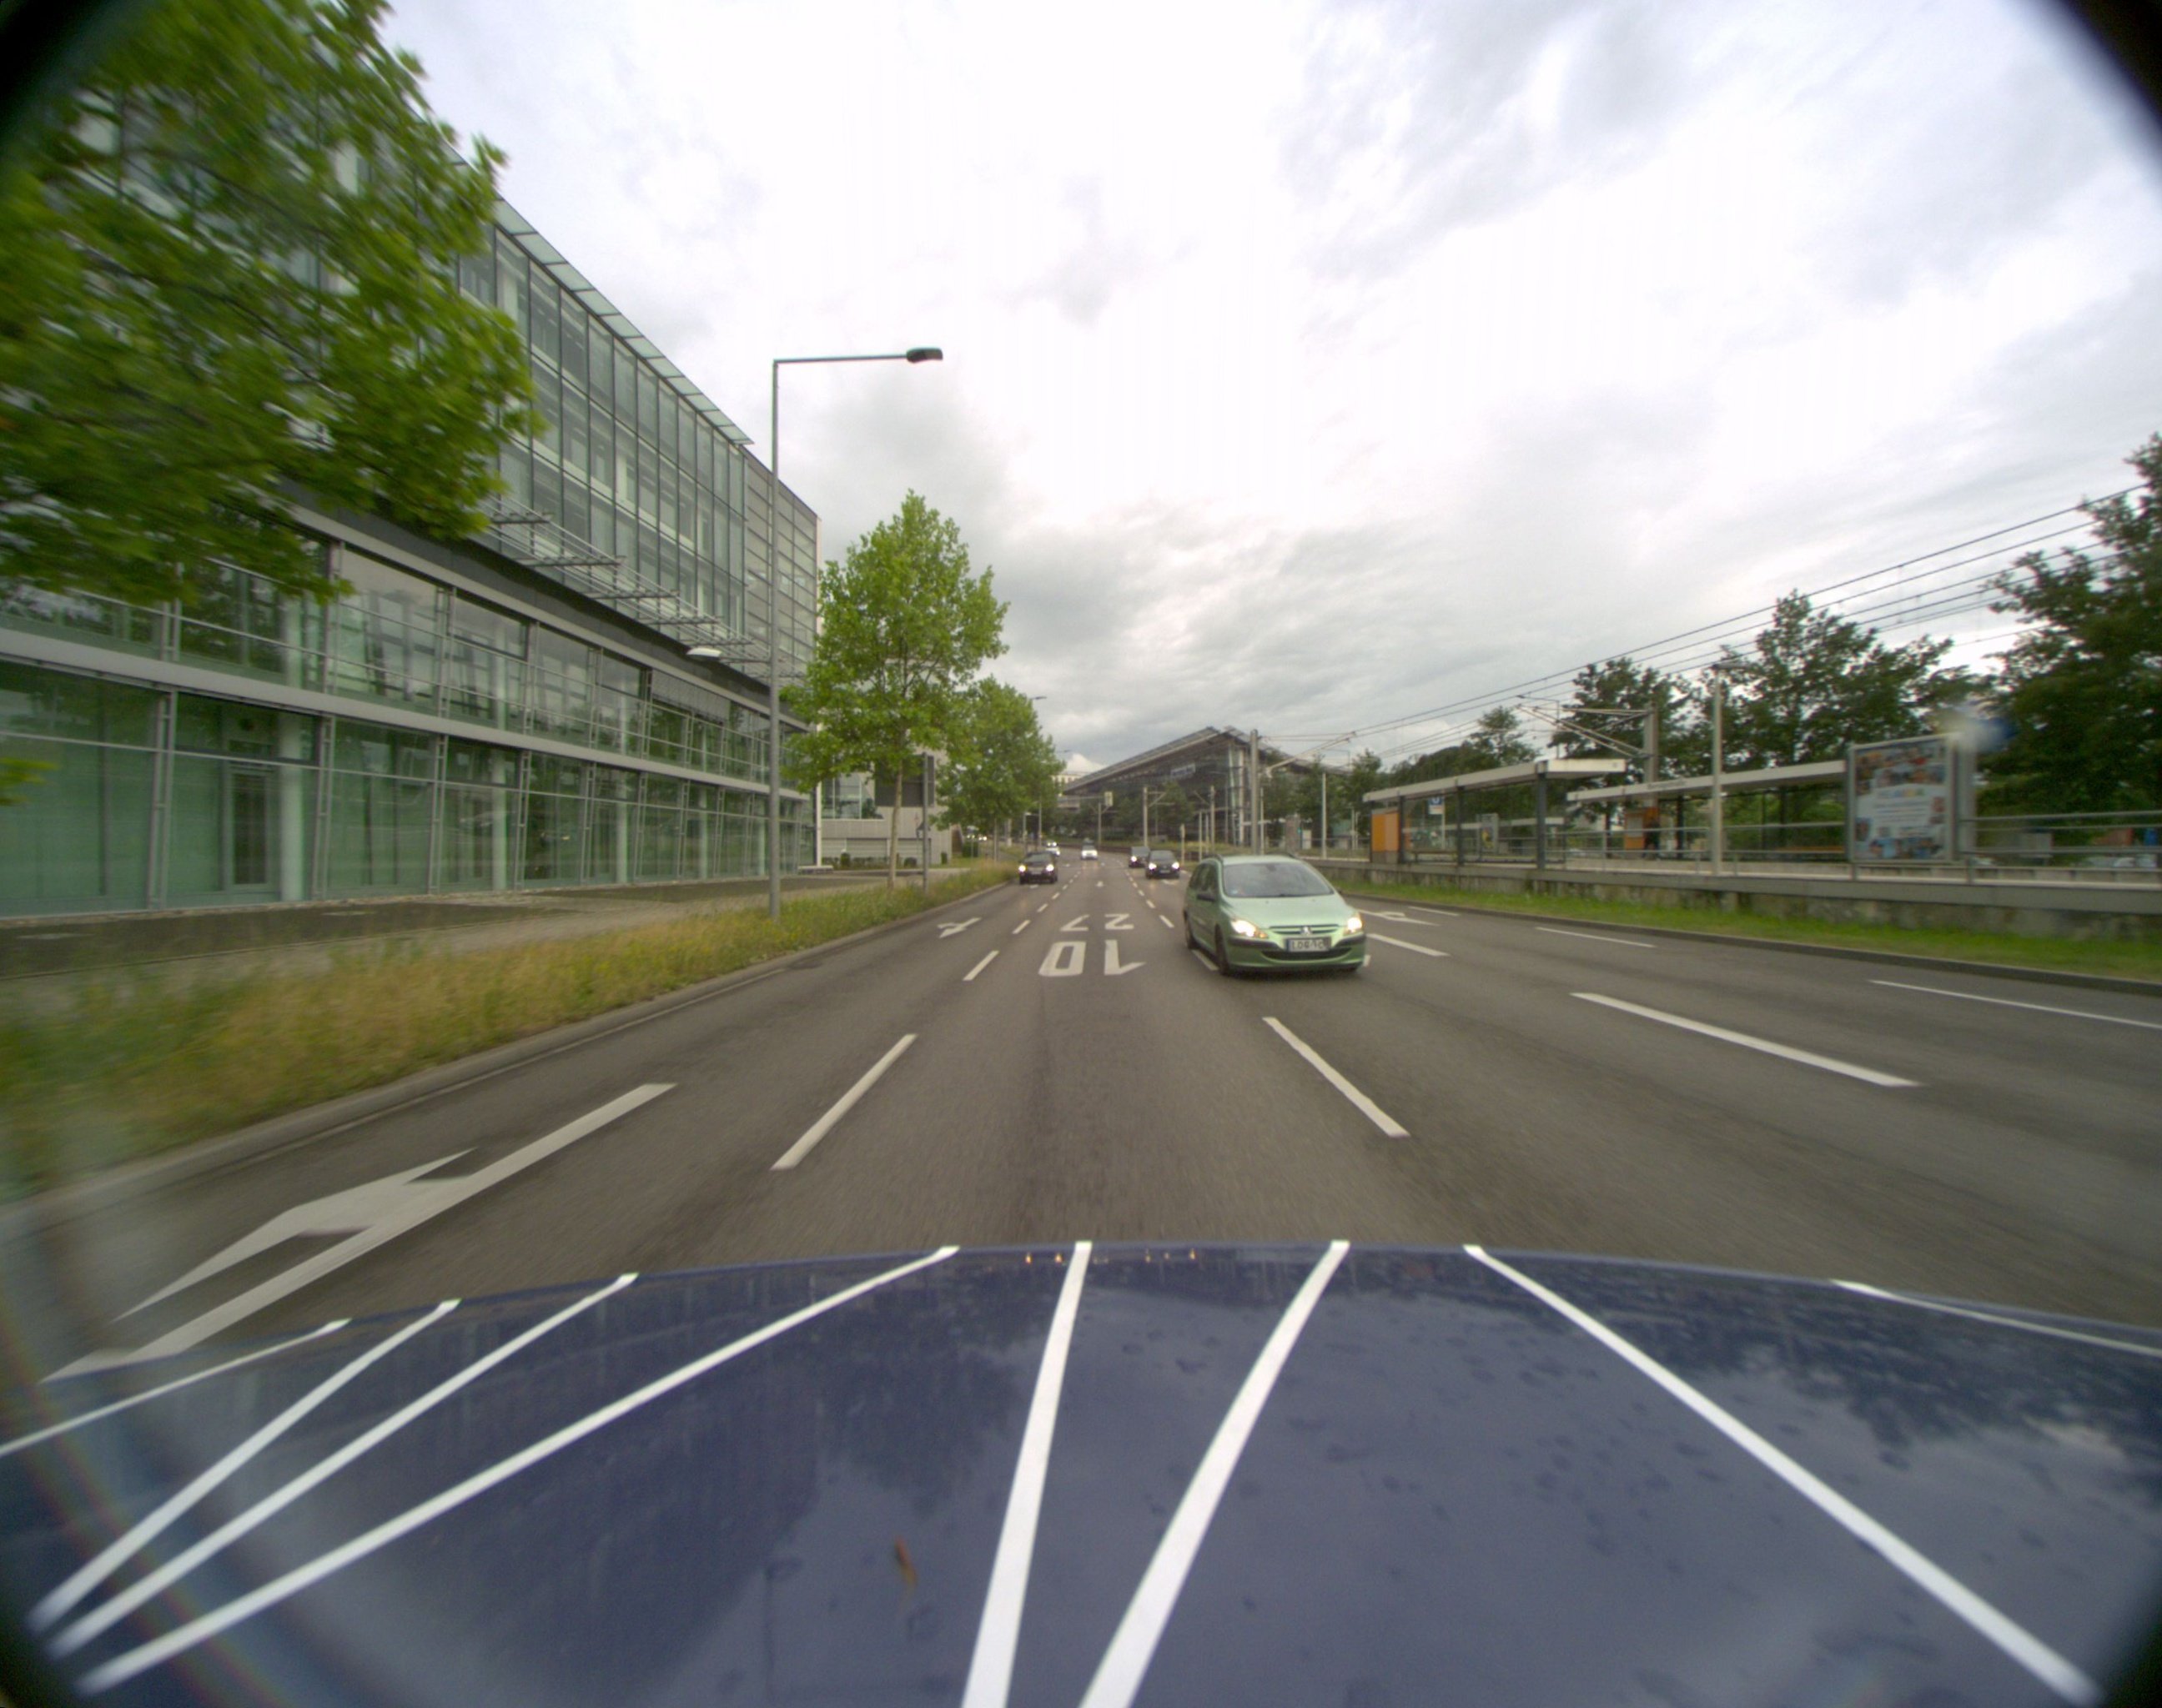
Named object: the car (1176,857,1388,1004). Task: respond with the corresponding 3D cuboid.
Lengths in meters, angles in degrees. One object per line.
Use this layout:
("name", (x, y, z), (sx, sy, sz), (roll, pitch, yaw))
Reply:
("car", (2.490, 0.852, 10.554), (1.699, 1.460, 4.402), (-3, 1, 0))

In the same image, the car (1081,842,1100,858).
("car", (1.033, -0.458, 84.419), (1.805, 1.713, 3.998), (-3, 1, -3))

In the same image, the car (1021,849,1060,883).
("car", (-2.091, 0.575, 39.982), (1.770, 1.620, 4.324), (-3, 0, 0))

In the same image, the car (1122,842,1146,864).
("car", (4.080, -0.107, 59.141), (1.730, 1.583, 4.193), (-2, 1, 3))

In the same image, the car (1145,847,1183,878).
("car", (4.524, 0.451, 41.818), (1.697, 1.514, 3.904), (-2, 1, 2))

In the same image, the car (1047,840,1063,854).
("car", (-3.426, -0.896, 98.829), (1.999, 1.669, 3.820), (-2, 1, -3))
